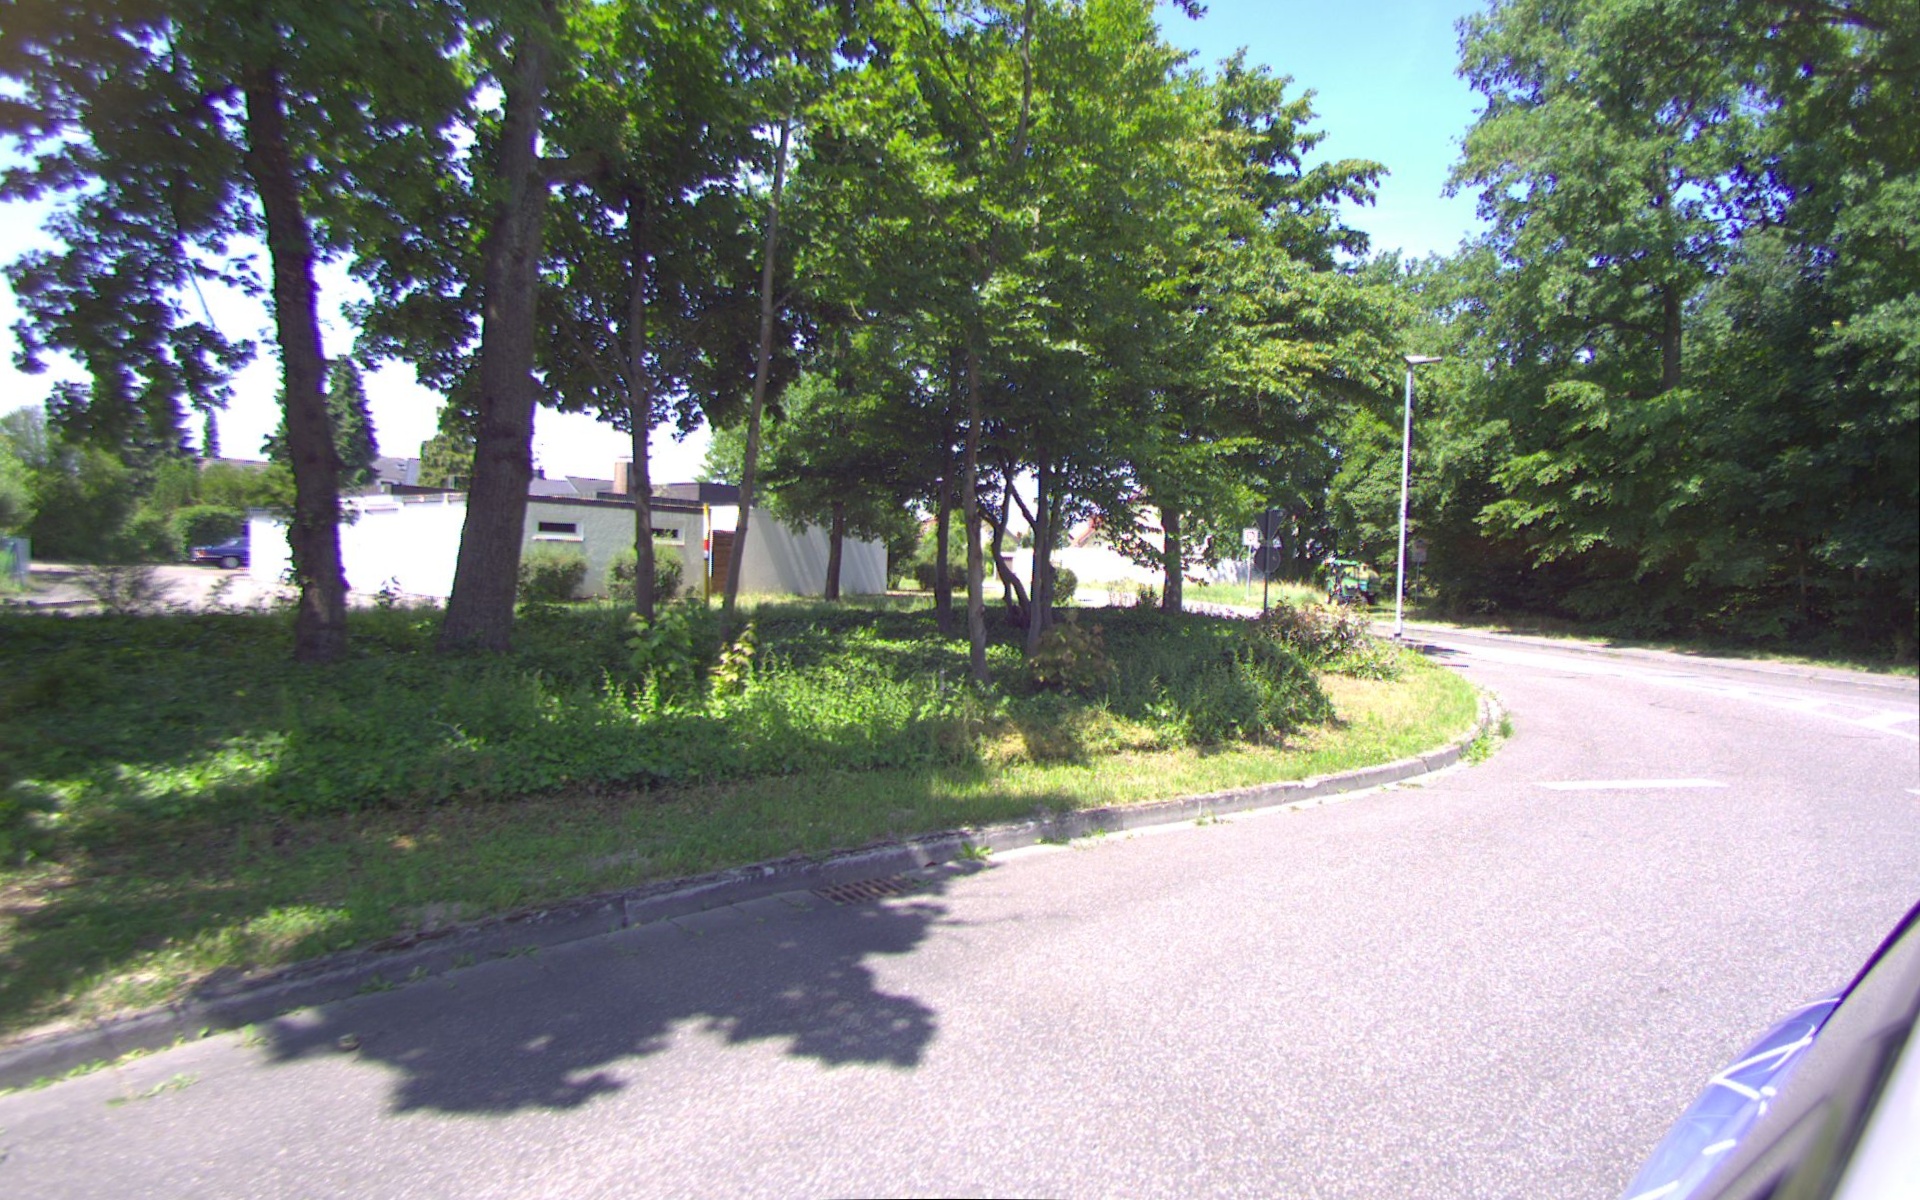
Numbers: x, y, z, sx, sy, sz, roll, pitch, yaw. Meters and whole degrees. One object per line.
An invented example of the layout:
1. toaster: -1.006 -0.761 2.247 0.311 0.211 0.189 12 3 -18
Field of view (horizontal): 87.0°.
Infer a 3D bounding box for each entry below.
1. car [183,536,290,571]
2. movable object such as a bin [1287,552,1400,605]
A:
1. car: -29.139 -1.862 40.831 1.566 1.268 3.233 4 3 39
2. movable object such as a bin: 18.285 -1.088 48.633 2.470 2.304 5.252 2 2 -13
